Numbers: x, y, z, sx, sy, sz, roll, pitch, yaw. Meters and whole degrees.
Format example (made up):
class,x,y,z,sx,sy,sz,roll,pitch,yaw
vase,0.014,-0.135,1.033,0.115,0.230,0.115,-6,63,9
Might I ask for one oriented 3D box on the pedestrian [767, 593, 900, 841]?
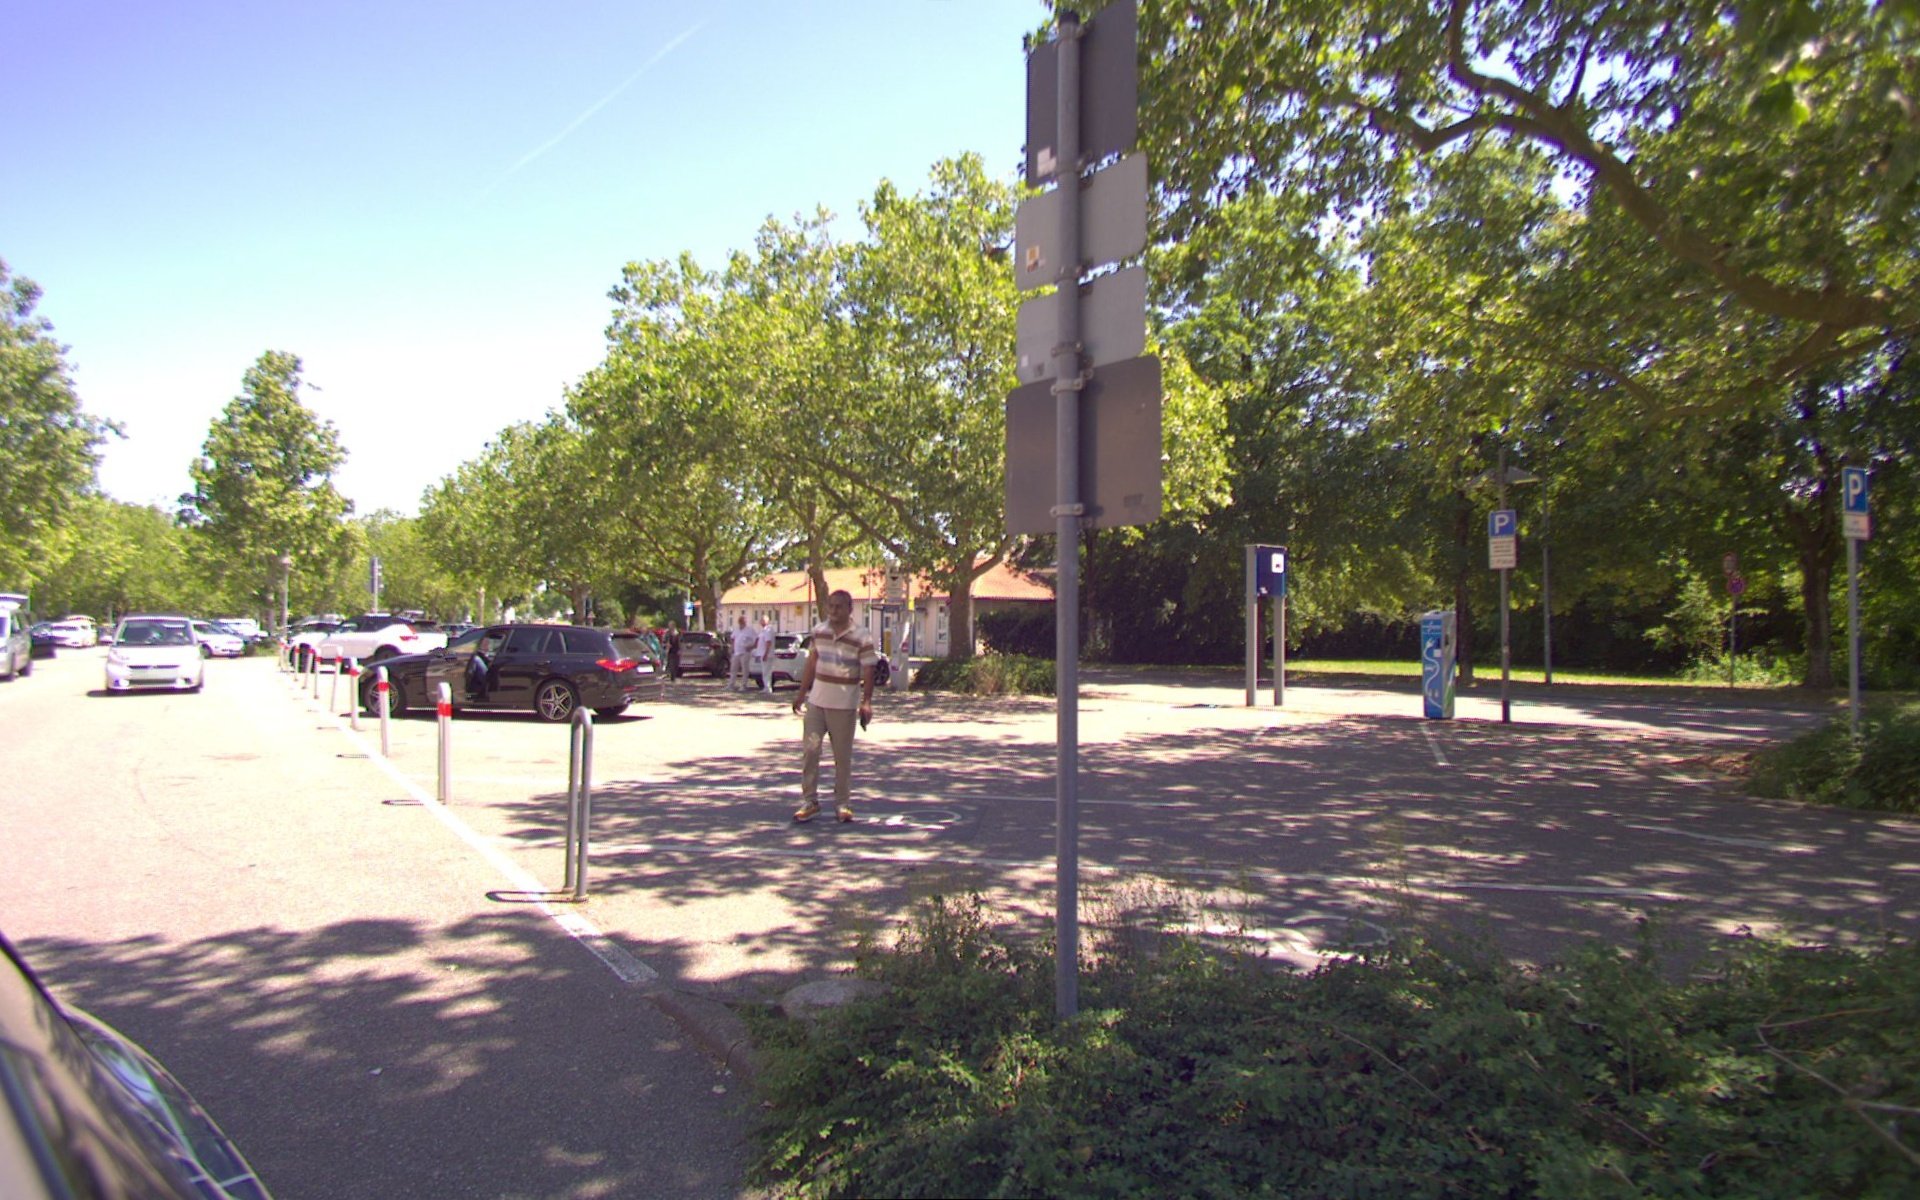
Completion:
class,x,y,z,sx,sy,sz,roll,pitch,yaw
pedestrian,-0.915,0.829,7.515,0.805,1.730,0.772,0,-2,6

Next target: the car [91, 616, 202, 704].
class,x,y,z,sx,sy,sz,roll,pitch,yaw
car,-16.185,1.146,20.232,1.576,1.605,3.113,2,-2,-37

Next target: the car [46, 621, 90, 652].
class,x,y,z,sx,sy,sz,roll,pitch,yaw
car,-56.719,2.279,64.324,2.020,1.854,4.971,0,-1,-42

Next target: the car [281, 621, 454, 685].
class,x,y,z,sx,sy,sz,roll,pitch,yaw
car,-16.871,1.473,28.914,4.016,1.617,1.796,2,0,8

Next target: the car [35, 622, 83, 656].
class,x,y,z,sx,sy,sz,roll,pitch,yaw
car,-52.587,2.241,59.081,2.020,1.854,4.971,0,-1,-42

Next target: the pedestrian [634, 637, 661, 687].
class,x,y,z,sx,sy,sz,roll,pitch,yaw
pedestrian,-9.310,1.838,30.170,0.679,1.435,0.803,1,-2,-14

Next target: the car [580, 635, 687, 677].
class,x,y,z,sx,sy,sz,roll,pitch,yaw
car,-12.149,2.064,37.851,1.627,1.471,3.844,0,-2,25

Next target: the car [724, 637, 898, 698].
class,x,y,z,sx,sy,sz,roll,pitch,yaw
car,-3.761,1.690,26.387,1.782,1.428,4.723,-1,-2,34

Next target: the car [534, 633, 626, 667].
class,x,y,z,sx,sy,sz,roll,pitch,yaw
car,-17.093,2.236,45.700,1.627,1.471,3.844,0,-2,25

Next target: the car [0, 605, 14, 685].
class,x,y,z,sx,sy,sz,roll,pitch,yaw
car,-24.595,1.084,24.783,1.974,1.854,5.325,0,-1,-42

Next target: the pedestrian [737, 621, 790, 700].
class,x,y,z,sx,sy,sz,roll,pitch,yaw
pedestrian,-4.552,1.398,23.510,0.849,1.784,0.829,-1,-2,33

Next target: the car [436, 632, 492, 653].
class,x,y,z,sx,sy,sz,roll,pitch,yaw
car,-33.923,2.884,69.212,3.112,1.405,1.467,2,-2,-43

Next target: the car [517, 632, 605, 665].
class,x,y,z,sx,sy,sz,roll,pitch,yaw
car,-18.908,2.271,48.116,1.627,1.471,3.844,0,-2,25

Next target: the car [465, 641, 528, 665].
class,x,y,z,sx,sy,sz,roll,pitch,yaw
car,-27.869,3.158,60.918,3.112,1.405,1.467,2,-2,-43

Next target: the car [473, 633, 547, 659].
class,x,y,z,sx,sy,sz,roll,pitch,yaw
car,-26.336,2.702,59.349,1.627,1.458,3.844,0,-2,25

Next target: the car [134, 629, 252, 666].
class,x,y,z,sx,sy,sz,roll,pitch,yaw
car,-30.922,1.905,40.867,3.467,1.414,1.802,0,-2,4

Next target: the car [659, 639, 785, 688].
class,x,y,z,sx,sy,sz,roll,pitch,yaw
car,-7.395,1.933,31.853,1.866,1.416,3.995,0,-2,23

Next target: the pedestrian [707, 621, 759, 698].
class,x,y,z,sx,sy,sz,roll,pitch,yaw
pedestrian,-5.410,1.403,24.090,0.849,1.784,0.829,-1,-3,34

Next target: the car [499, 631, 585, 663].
class,x,y,z,sx,sy,sz,roll,pitch,yaw
car,-20.507,2.287,49.833,1.627,1.471,3.844,0,-2,25

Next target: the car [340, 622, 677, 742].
class,x,y,z,sx,sy,sz,roll,pitch,yaw
car,-6.913,1.207,15.730,4.475,1.554,1.797,2,0,7

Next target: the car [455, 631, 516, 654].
class,x,y,z,sx,sy,sz,roll,pitch,yaw
car,-29.456,2.647,62.879,3.112,1.405,1.467,2,-2,-43

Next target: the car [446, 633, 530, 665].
class,x,y,z,sx,sy,sz,roll,pitch,yaw
car,-24.655,2.554,53.026,1.627,1.587,3.844,0,-2,25

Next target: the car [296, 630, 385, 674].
class,x,y,z,sx,sy,sz,roll,pitch,yaw
car,-28.032,2.317,45.754,3.984,1.908,1.721,-1,-2,30

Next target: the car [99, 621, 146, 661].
class,x,y,z,sx,sy,sz,roll,pitch,yaw
car,-36.092,1.752,43.654,1.434,1.682,3.112,2,-2,-39

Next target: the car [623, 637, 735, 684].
class,x,y,z,sx,sy,sz,roll,pitch,yaw
car,-9.600,2.040,34.873,1.627,1.471,3.844,0,-2,25

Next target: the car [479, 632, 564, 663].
class,x,y,z,sx,sy,sz,roll,pitch,yaw
car,-22.217,2.392,51.417,1.627,1.471,3.844,0,-2,25

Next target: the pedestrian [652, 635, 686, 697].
class,x,y,z,sx,sy,sz,roll,pitch,yaw
pedestrian,-7.508,1.700,26.116,0.580,1.560,0.611,3,-4,-41
